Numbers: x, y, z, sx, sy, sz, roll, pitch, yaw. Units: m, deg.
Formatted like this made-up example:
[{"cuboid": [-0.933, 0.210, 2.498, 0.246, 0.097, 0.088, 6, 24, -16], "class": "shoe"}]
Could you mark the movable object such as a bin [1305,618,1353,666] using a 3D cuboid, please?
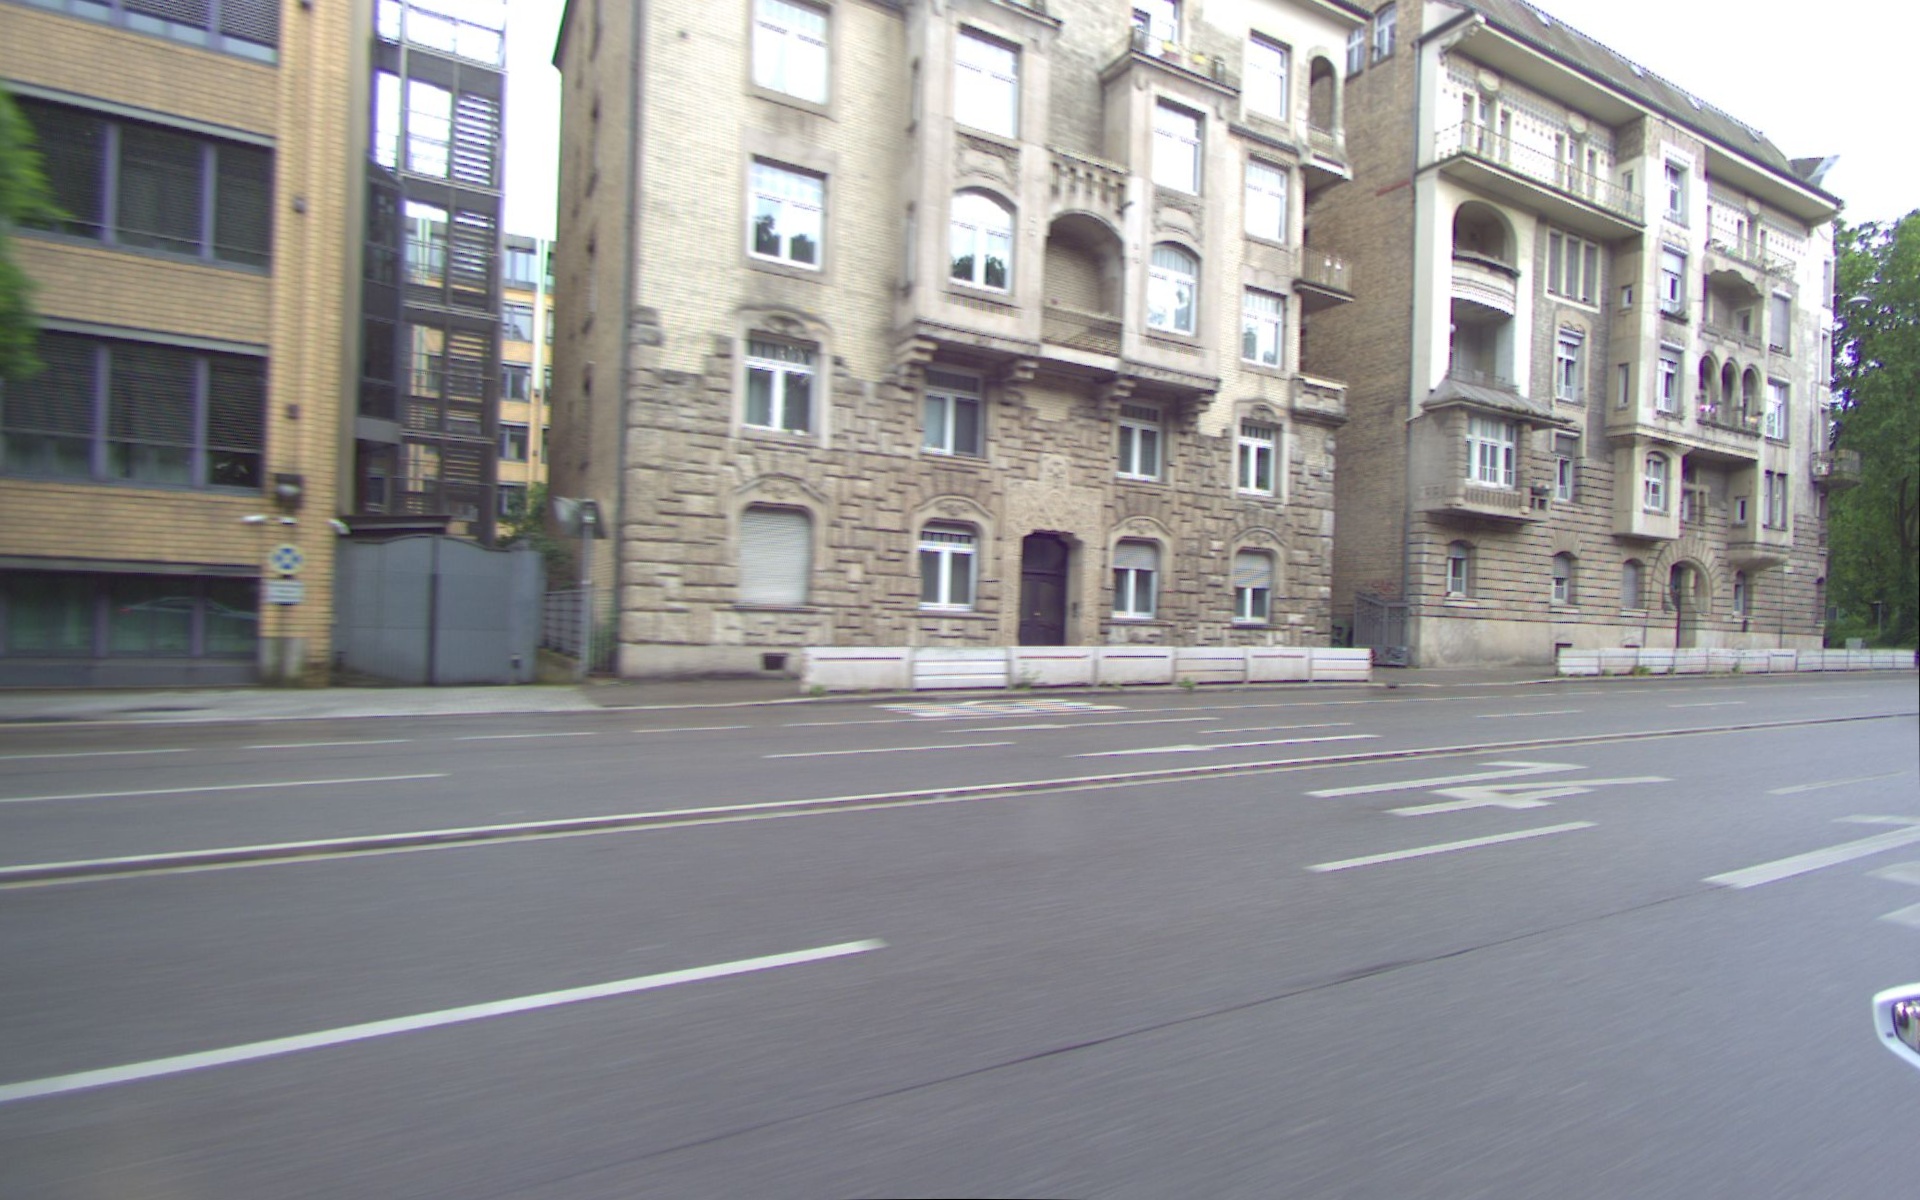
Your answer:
[{"cuboid": [11.756, 1.325, 31.992, 1.011, 1.454, 1.020, -2, 0, -31], "class": "movable object such as a bin"}]
